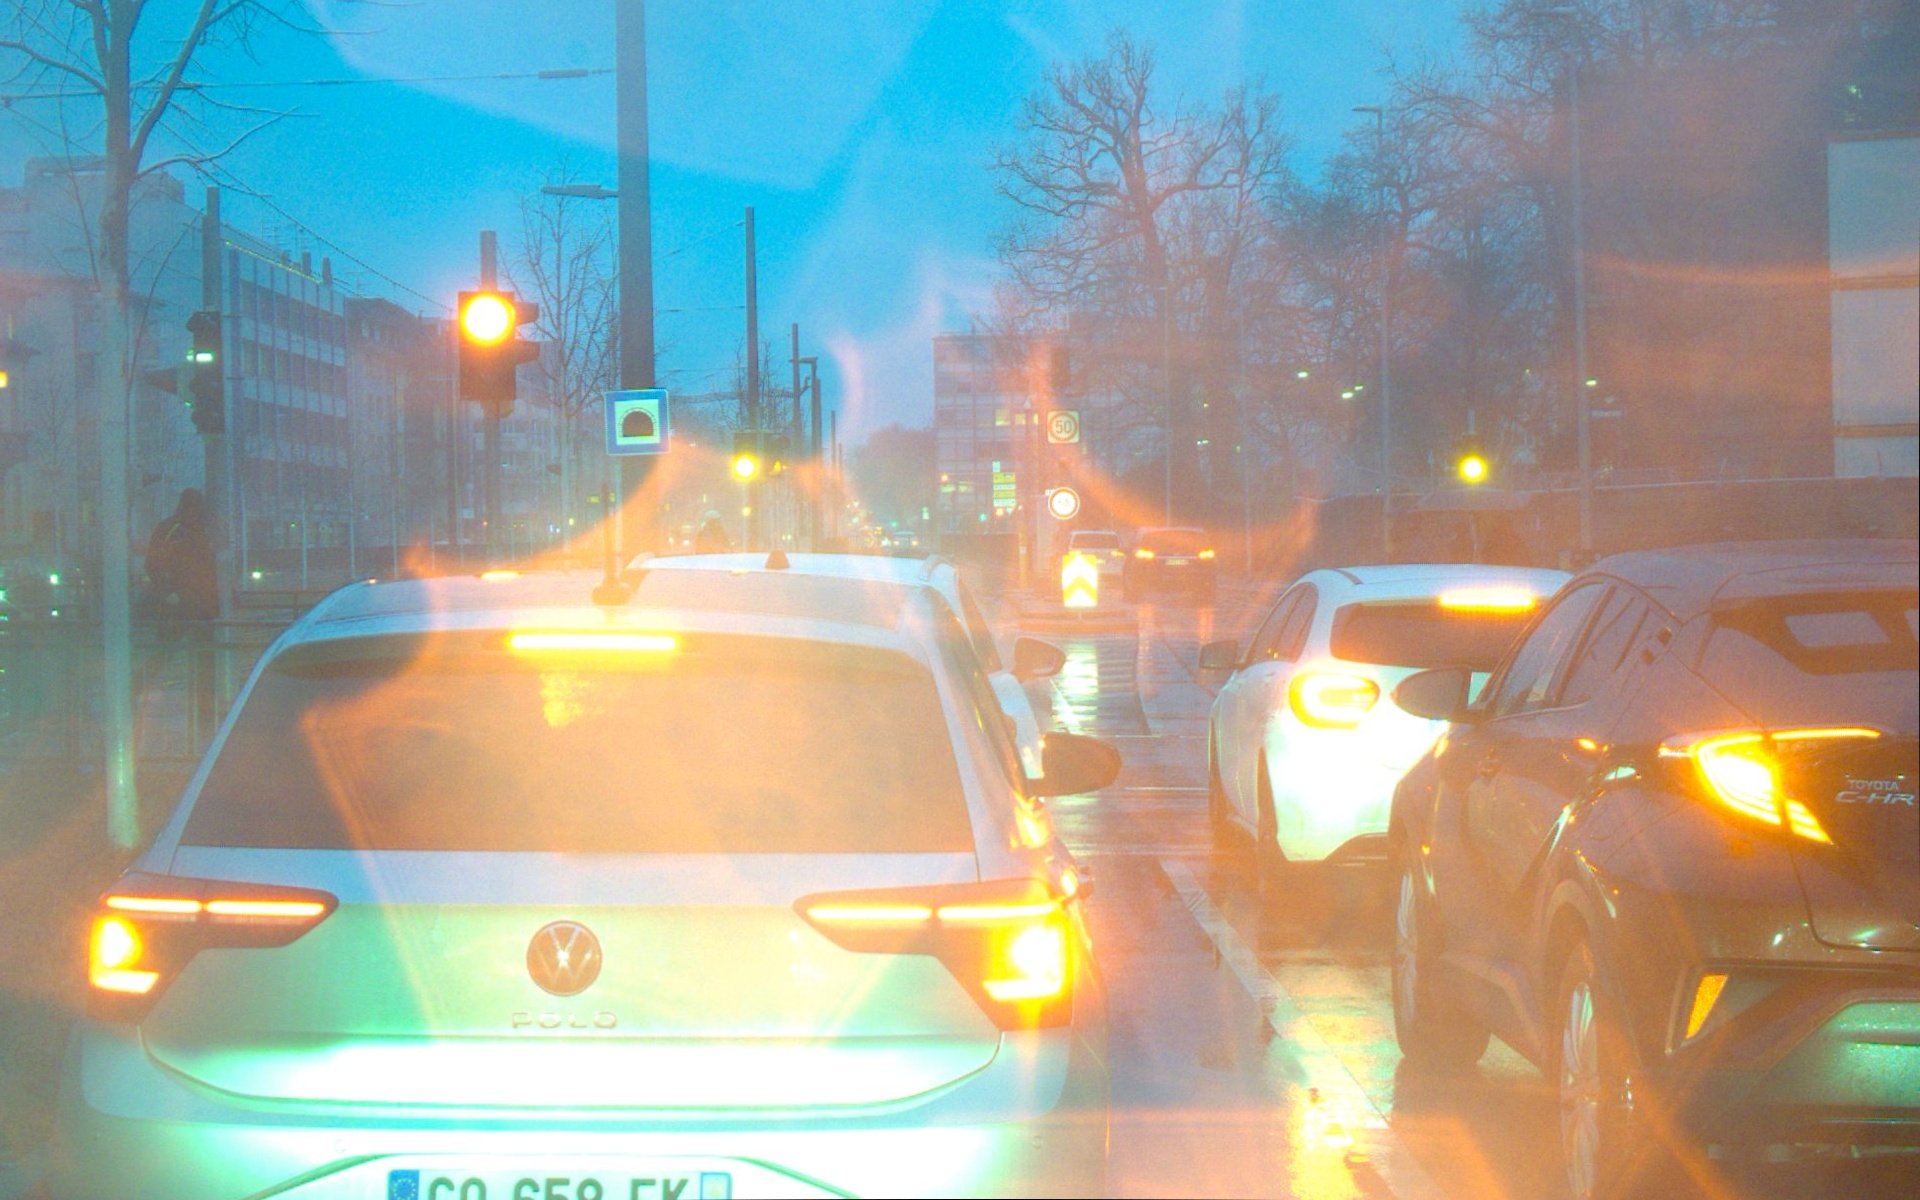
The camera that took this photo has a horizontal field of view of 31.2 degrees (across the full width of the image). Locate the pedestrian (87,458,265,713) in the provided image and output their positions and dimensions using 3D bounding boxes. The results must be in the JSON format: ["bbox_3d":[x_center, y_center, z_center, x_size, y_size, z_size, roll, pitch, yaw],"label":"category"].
[{"bbox_3d":[-6.347,-0.129,27.836,0.961,2.007,1.005,0,1,42],"label":"pedestrian"}]

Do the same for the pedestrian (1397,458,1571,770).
[{"bbox_3d":[3.460,0.078,22.787,0.959,2.007,1.008,-1,1,-1],"label":"pedestrian"}]

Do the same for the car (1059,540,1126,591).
[{"bbox_3d":[3.828,-1.010,99.906,1.737,1.415,3.703,-1,1,0],"label":"car"}]

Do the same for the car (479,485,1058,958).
[{"bbox_3d":[-0.617,0.332,13.149,1.799,1.461,4.586,-1,1,0],"label":"car"}]

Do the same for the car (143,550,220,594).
[{"bbox_3d":[-29.229,-1.050,129.164,1.950,1.597,4.000,1,1,0],"label":"car"}]

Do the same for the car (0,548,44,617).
[{"bbox_3d":[-23.368,-0.452,82.030,1.950,1.597,4.000,1,1,0],"label":"car"}]

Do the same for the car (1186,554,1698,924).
[{"bbox_3d":[2.020,0.523,15.412,1.745,1.428,3.731,1,1,0],"label":"car"}]

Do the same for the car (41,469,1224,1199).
[{"bbox_3d":[-0.596,0.535,6.949,1.693,1.528,4.001,0,1,-4],"label":"car"}]

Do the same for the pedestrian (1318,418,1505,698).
[{"bbox_3d":[3.316,-0.316,25.288,0.958,2.007,1.008,-1,1,-23],"label":"pedestrian"}]

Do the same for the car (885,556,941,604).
[{"bbox_3d":[-1.503,-0.652,110.376,1.737,1.415,4.394,-1,1,0],"label":"car"}]

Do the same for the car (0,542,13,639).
[{"bbox_3d":[-16.750,-0.158,55.284,1.993,1.597,4.000,1,1,-1],"label":"car"}]

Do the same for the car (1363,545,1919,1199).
[{"bbox_3d":[2.123,0.632,8.327,1.800,1.505,3.895,-1,1,0],"label":"car"}]

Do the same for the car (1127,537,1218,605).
[{"bbox_3d":[4.662,-0.663,75.885,1.737,1.415,3.703,-1,1,0],"label":"car"}]
